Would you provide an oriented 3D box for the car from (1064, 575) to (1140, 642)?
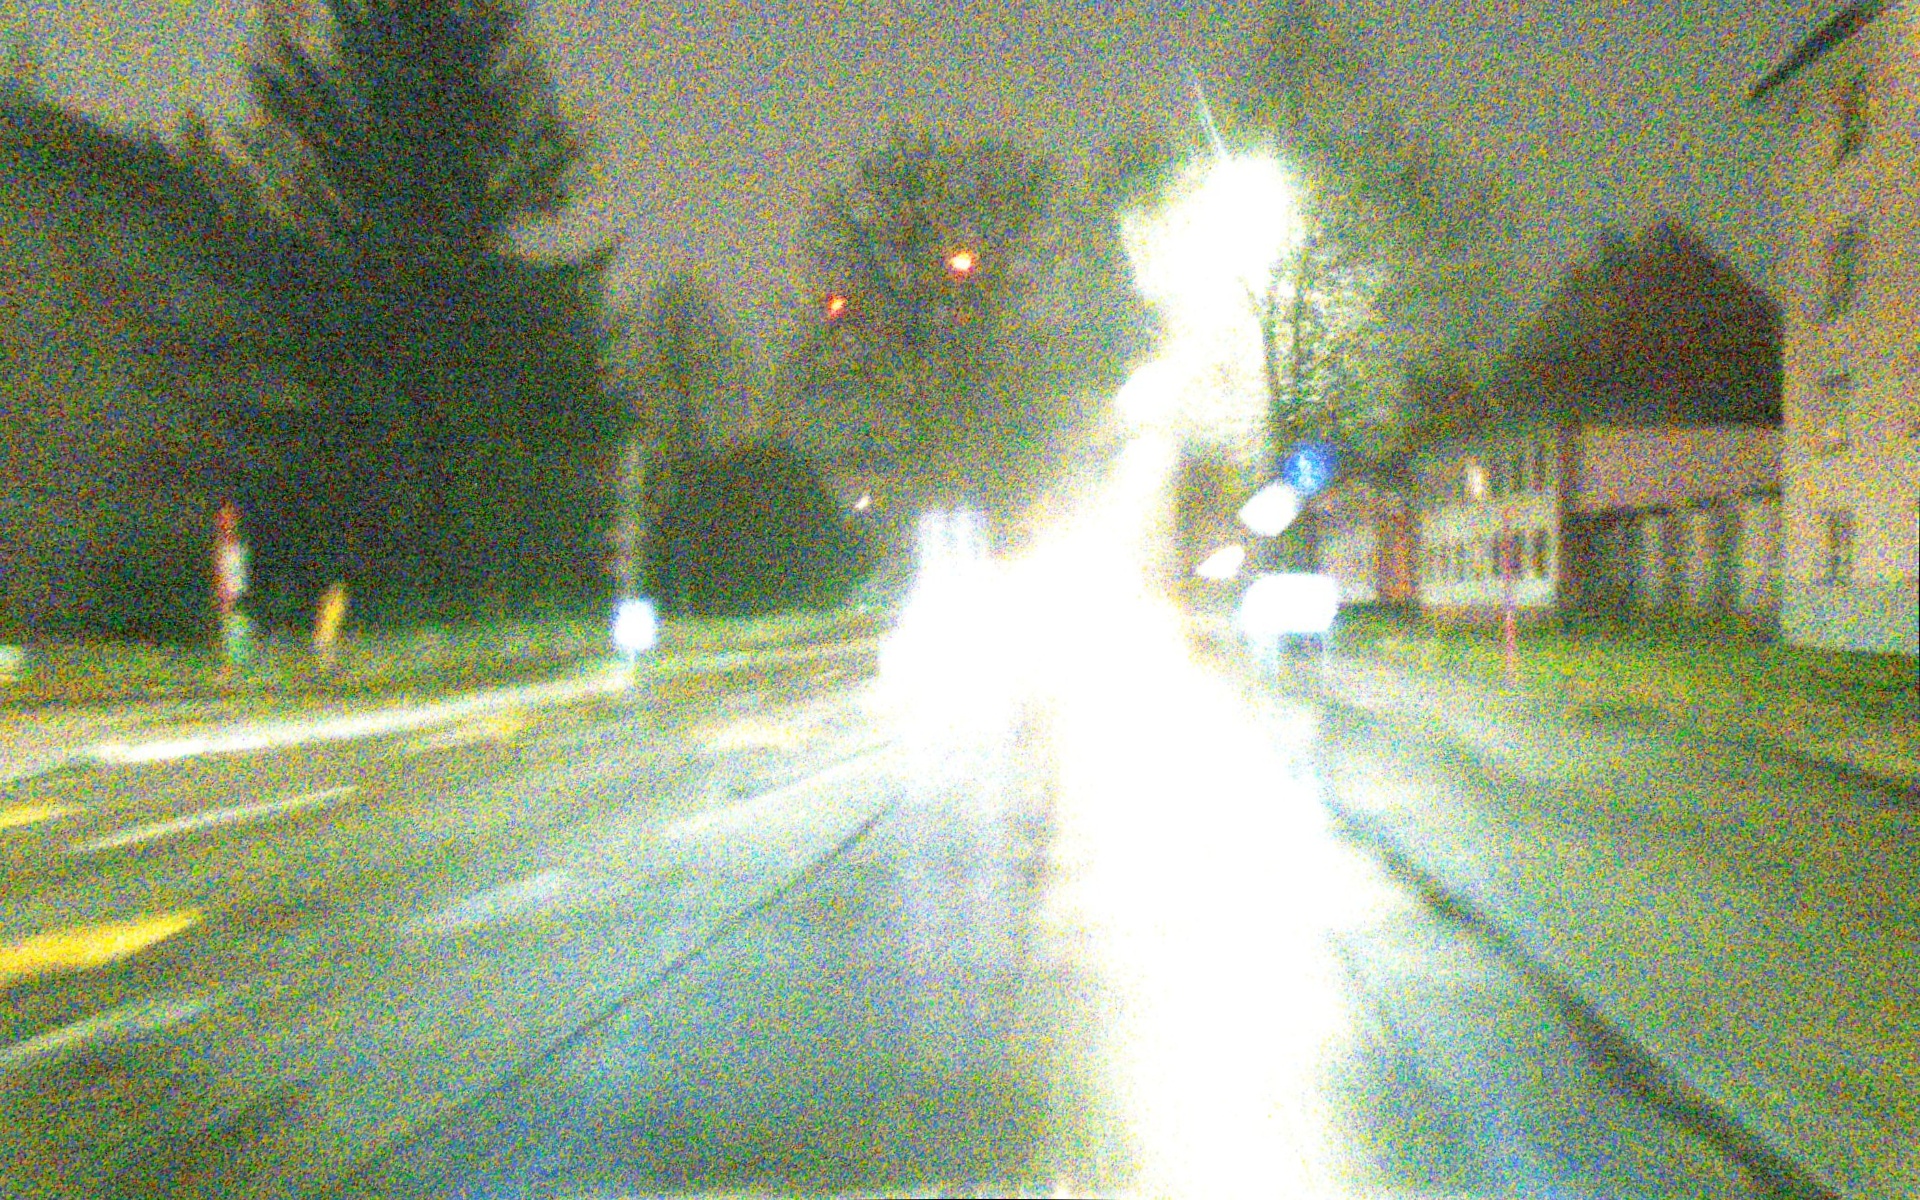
[{"bbox_3d":[3.978,0.217,46.335,1.951,1.713,4.003,2,1,5],"label":"car"}]
